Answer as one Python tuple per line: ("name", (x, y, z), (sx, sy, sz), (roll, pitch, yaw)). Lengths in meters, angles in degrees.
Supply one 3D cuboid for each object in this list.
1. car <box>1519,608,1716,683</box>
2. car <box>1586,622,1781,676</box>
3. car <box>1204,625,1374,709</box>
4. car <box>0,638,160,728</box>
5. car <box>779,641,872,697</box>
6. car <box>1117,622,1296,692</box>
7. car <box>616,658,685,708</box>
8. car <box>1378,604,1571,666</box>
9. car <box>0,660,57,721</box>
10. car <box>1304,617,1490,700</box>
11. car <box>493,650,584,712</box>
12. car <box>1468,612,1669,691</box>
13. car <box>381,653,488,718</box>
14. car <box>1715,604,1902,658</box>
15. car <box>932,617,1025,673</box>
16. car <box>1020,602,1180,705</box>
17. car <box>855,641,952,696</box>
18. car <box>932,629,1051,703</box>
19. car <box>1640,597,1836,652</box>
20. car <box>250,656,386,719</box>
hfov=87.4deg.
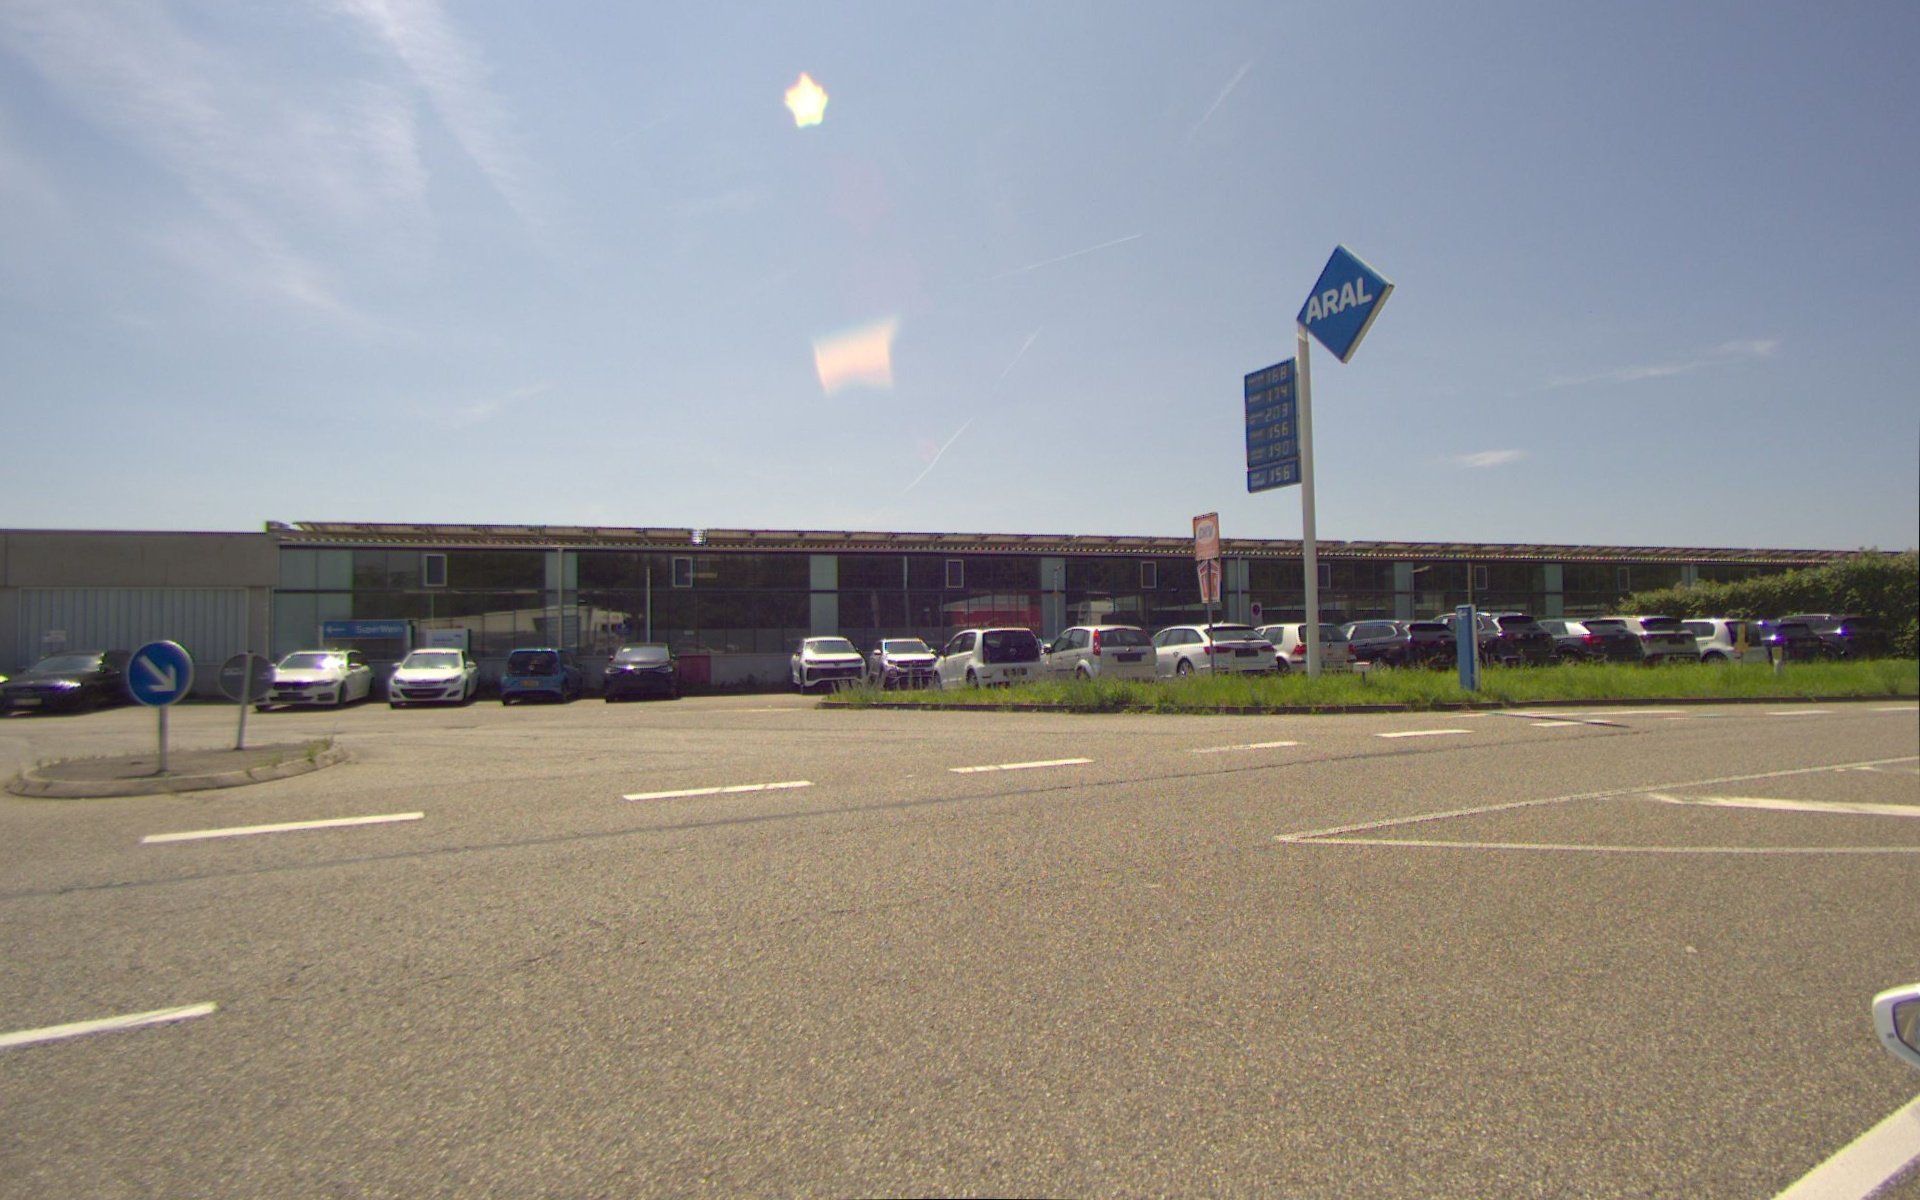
("car", (17.100, 1.215, 26.380), (1.967, 1.772, 3.988), (0, -3, -16))
("car", (19.560, 1.350, 27.382), (1.804, 1.334, 3.986), (0, -3, -18))
("car", (7.538, 1.505, 23.424), (1.903, 1.773, 3.988), (1, -2, -15))
("car", (-21.845, 1.988, 25.028), (1.572, 2.040, 3.987), (0, -2, -17))
("car", (-4.096, 2.002, 29.993), (1.968, 1.523, 4.577), (0, -2, -18))
("car", (5.329, 1.260, 22.363), (1.968, 1.376, 4.236), (0, -3, -17))
("car", (-8.804, 2.338, 28.627), (1.741, 1.263, 3.988), (-1, -4, -17))
("car", (12.325, 0.895, 24.384), (1.967, 1.349, 3.988), (0, -3, -16))
("car", (-25.892, 2.302, 25.437), (4.033, 1.447, 1.914), (0, -2, -14))
("car", (10.132, 1.344, 23.634), (1.967, 1.773, 3.988), (1, -2, -15))
("car", (-11.725, 2.230, 28.176), (1.968, 1.550, 3.986), (0, -3, -18))
("car", (15.041, 1.291, 25.121), (1.967, 1.772, 3.988), (0, -3, -16))
("car", (-13.962, 2.233, 26.908), (1.814, 1.516, 3.856), (0, -2, -17))
("car", (23.886, 0.824, 28.450), (1.773, 1.391, 3.697), (1, 0, -15))
("car", (0.505, 1.388, 31.166), (1.788, 1.603, 3.987), (1, -3, -17))
("car", (2.955, 1.172, 22.111), (1.968, 2.040, 3.986), (0, -3, -17))
("car", (-1.805, 2.056, 30.732), (1.968, 1.523, 4.122), (0, -2, -18))
("car", (0.607, 1.425, 22.026), (1.538, 1.460, 3.441), (0, -3, -18))
("car", (21.581, 0.720, 28.060), (1.792, 1.380, 3.985), (0, -3, -18))
("car", (-16.511, 2.191, 26.071), (1.968, 1.461, 3.986), (0, -3, -17))
